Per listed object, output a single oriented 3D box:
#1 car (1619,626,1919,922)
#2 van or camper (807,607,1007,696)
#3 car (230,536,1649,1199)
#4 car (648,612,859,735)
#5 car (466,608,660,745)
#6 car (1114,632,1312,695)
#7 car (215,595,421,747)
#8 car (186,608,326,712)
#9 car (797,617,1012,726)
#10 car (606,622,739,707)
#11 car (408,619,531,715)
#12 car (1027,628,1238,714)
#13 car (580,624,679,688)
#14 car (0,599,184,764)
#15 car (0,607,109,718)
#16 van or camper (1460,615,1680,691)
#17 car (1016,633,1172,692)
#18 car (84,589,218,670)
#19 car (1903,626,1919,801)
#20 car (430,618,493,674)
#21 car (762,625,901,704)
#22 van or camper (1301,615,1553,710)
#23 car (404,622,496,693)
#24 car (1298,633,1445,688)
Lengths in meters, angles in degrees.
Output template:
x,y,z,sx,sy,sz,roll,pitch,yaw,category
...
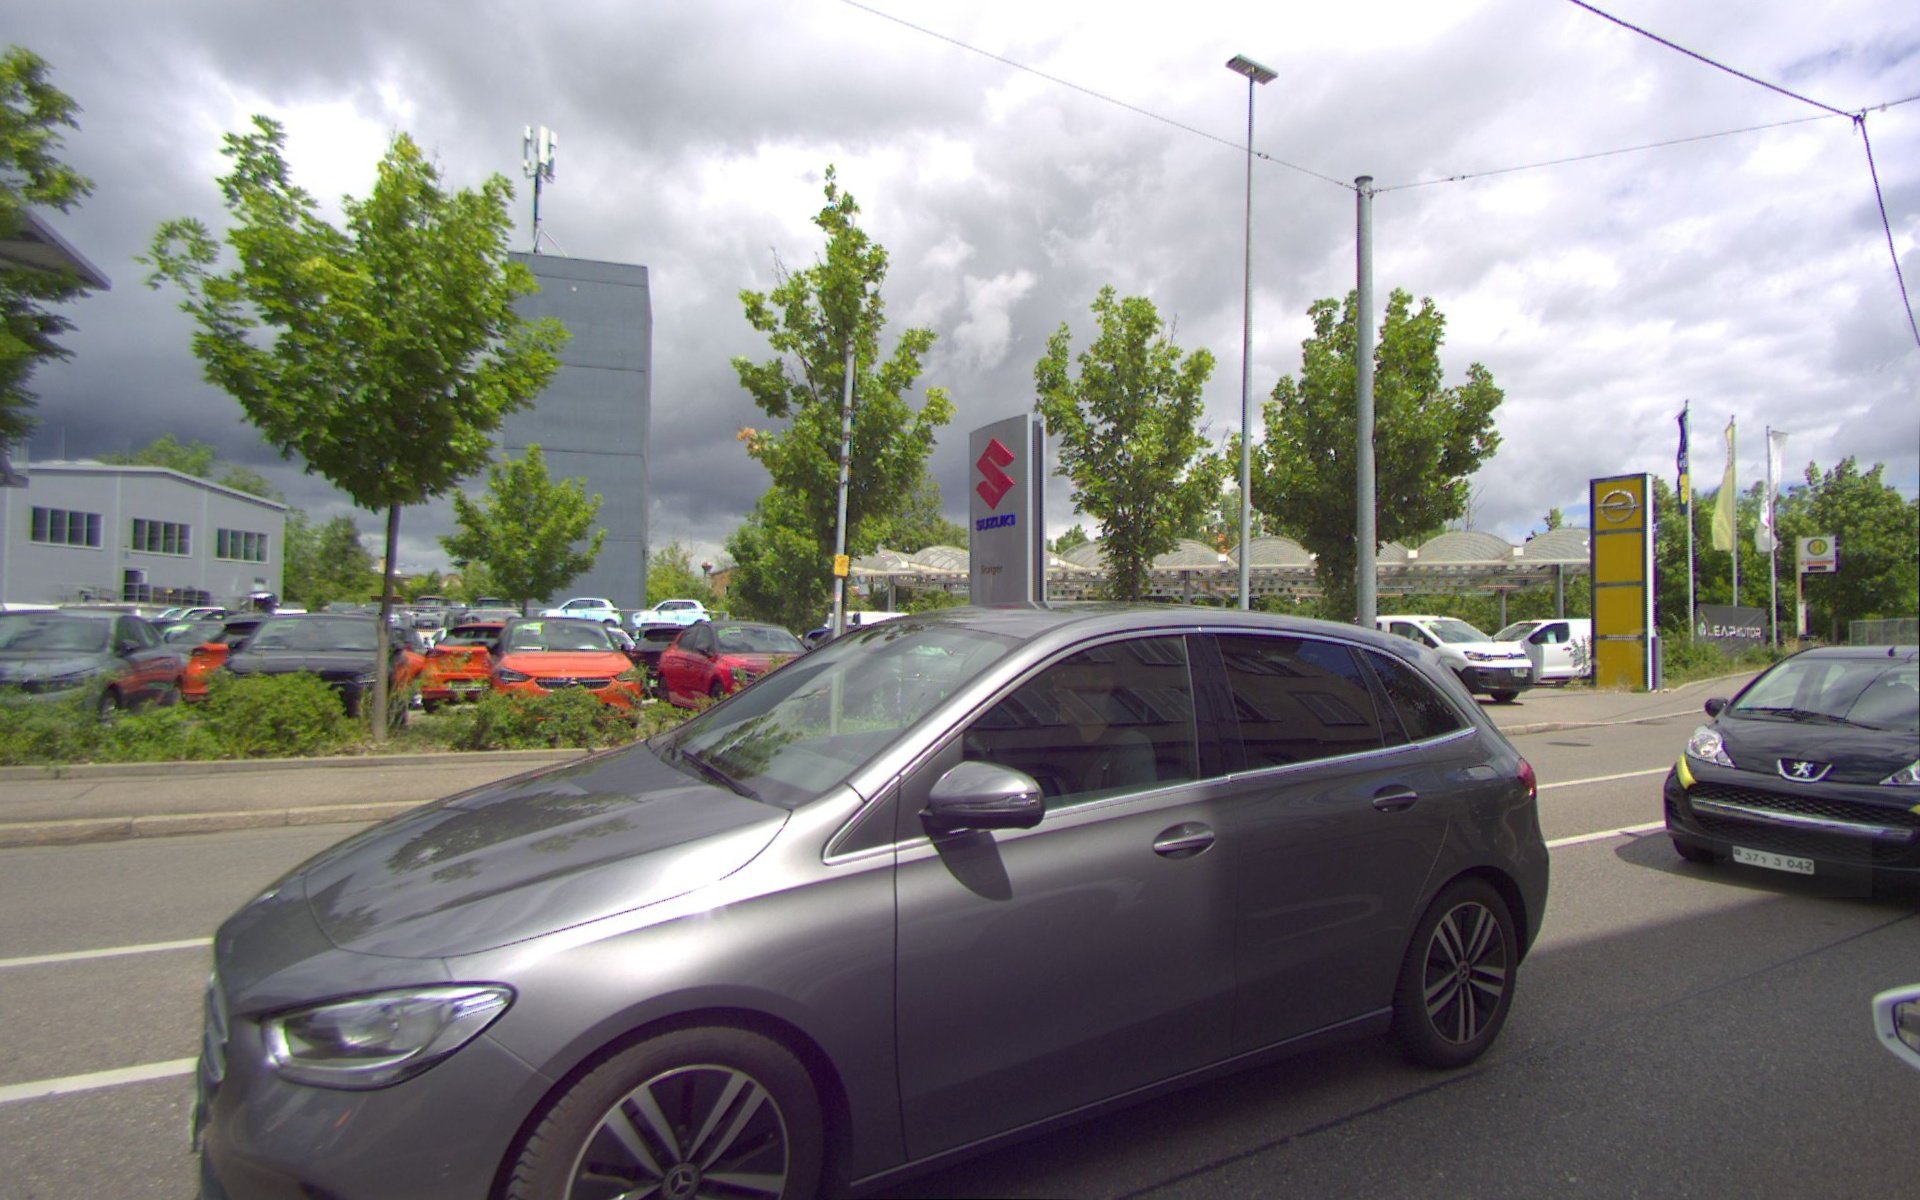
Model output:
x,y,z,sx,sy,sz,roll,pitch,yaw,category
6.130,1.001,6.691,3.287,1.503,1.709,3,-1,-33,car
-1.291,1.243,25.009,4.633,2.040,1.983,1,-2,-32,van or camper
0.255,0.778,3.420,4.199,1.602,1.712,3,-1,-29,car
-3.106,0.990,14.505,1.792,1.517,3.828,1,-3,-32,car
-5.337,0.932,13.229,1.792,1.517,3.808,1,-2,-31,car
6.341,1.545,25.398,4.453,1.455,2.005,-1,-3,39,car
-7.653,0.791,12.183,1.792,1.517,3.962,1,-2,-31,car
-10.568,0.873,15.263,1.501,1.391,3.299,1,-2,-31,car
-1.008,1.083,16.184,1.794,1.517,3.790,1,-3,-34,car
-5.277,1.124,18.203,1.501,1.391,3.299,1,-2,-31,car
-8.062,1.039,16.377,1.501,1.391,3.299,1,-2,-31,car
3.114,1.258,18.695,1.779,1.428,3.671,1,-3,-37,car
-7.810,1.287,23.587,1.501,1.391,3.299,1,-2,-31,car
-9.910,0.817,10.920,1.791,1.517,4.036,1,-2,-30,car
-13.096,0.843,13.893,1.501,1.391,3.299,1,-2,-31,car
16.746,1.419,27.769,4.860,1.989,1.990,0,-1,1,van or camper
3.146,1.421,23.416,3.437,1.270,1.531,1,-2,-33,car
-15.123,0.575,18.929,1.501,1.391,3.299,1,-2,-31,car
10.883,1.139,9.677,3.957,1.602,1.709,3,-1,-33,car
-19.316,1.743,39.051,1.973,1.835,3.975,3,0,-24,car
-2.586,1.217,19.637,1.501,1.391,3.299,1,-2,-31,car
9.721,1.253,21.344,1.974,1.773,4.652,1,-2,-27,van or camper
-10.928,1.192,21.428,1.501,1.391,3.299,1,-2,-31,car
12.109,1.760,29.770,3.922,1.486,1.818,0,-2,21,car
